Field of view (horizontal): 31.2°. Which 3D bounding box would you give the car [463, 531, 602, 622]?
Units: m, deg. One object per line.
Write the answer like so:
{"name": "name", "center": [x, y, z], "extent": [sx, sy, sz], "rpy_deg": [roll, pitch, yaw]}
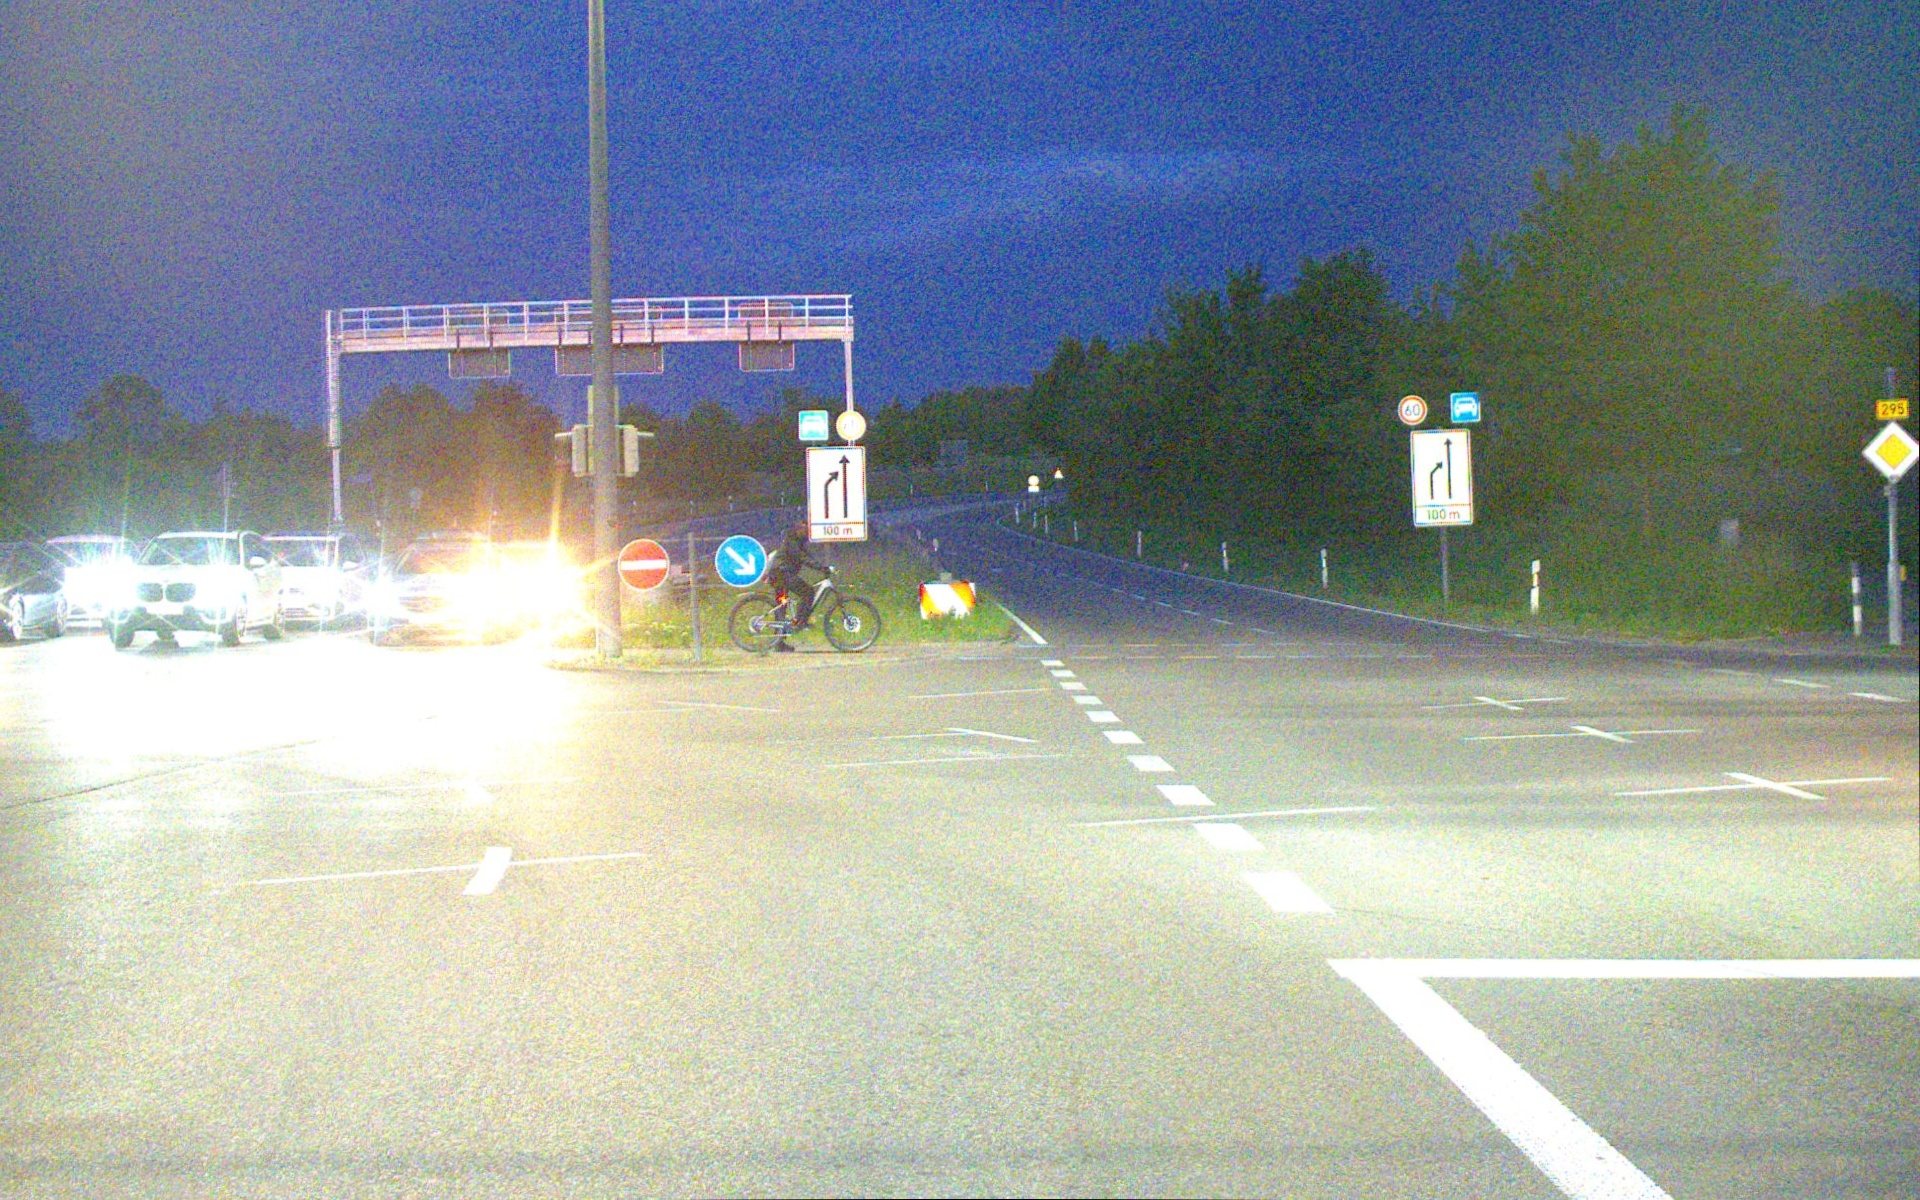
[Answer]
{"name": "car", "center": [-7.267, -0.424, 58.746], "extent": [1.773, 1.476, 3.910], "rpy_deg": [1, 1, 1]}

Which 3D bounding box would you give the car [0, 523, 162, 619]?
{"name": "car", "center": [-14.849, -0.519, 57.907], "extent": [1.831, 1.519, 4.000], "rpy_deg": [-1, 1, 0]}

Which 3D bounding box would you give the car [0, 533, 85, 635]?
{"name": "car", "center": [-14.662, -0.268, 51.649], "extent": [1.780, 1.441, 4.291], "rpy_deg": [0, 2, 2]}

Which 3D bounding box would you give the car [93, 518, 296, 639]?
{"name": "car", "center": [-11.171, -0.356, 50.477], "extent": [1.908, 1.676, 4.420], "rpy_deg": [0, 2, 1]}

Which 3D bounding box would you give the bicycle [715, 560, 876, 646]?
{"name": "bicycle", "center": [-2.136, 0.032, 44.541], "extent": [2.061, 1.097, 0.695], "rpy_deg": [0, 1, -5]}

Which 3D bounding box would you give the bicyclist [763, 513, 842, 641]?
{"name": "bicyclist", "center": [-2.042, -0.299, 44.558], "extent": [0.997, 1.645, 0.604], "rpy_deg": [0, 1, -5]}

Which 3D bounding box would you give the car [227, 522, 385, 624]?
{"name": "car", "center": [-10.985, -0.494, 57.997], "extent": [1.745, 1.621, 4.363], "rpy_deg": [0, 2, 1]}

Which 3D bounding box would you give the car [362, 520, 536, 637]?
{"name": "car", "center": [-7.499, -0.356, 50.872], "extent": [1.852, 1.627, 4.585], "rpy_deg": [0, 2, 1]}
